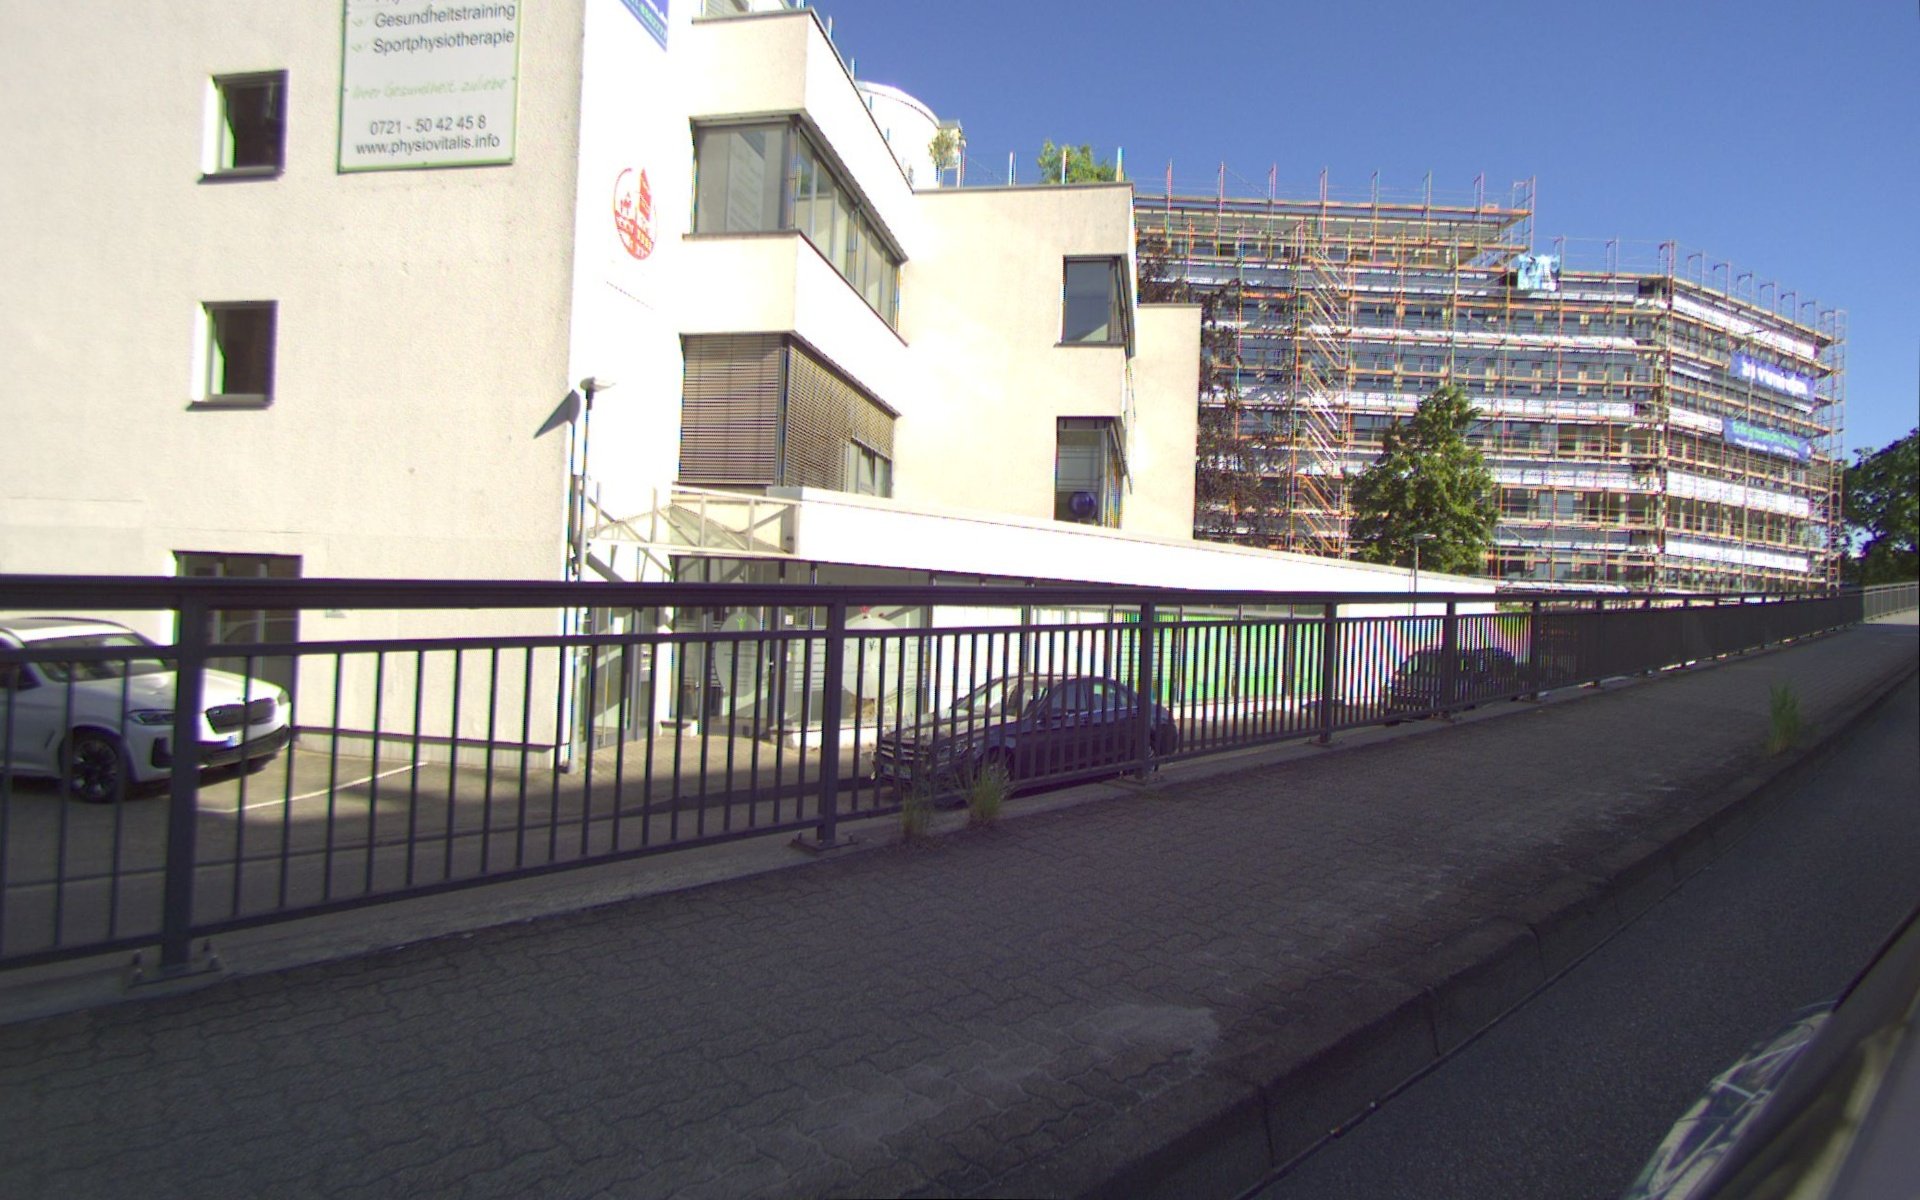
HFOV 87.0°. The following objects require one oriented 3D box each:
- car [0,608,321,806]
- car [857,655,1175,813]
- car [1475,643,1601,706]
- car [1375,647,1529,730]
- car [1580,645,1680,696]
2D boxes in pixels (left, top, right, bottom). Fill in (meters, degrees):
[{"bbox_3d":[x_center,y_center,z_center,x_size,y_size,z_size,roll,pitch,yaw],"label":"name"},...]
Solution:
[{"bbox_3d":[-9.563,1.019,10.853,4.455,1.707,1.840,2,0,9],"label":"car"},{"bbox_3d":[0.814,1.545,12.815,3.929,1.541,1.724,1,-1,-41],"label":"car"},{"bbox_3d":[14.985,1.865,26.166,3.931,1.410,1.723,1,-1,-42],"label":"car"},{"bbox_3d":[10.864,1.859,22.236,3.931,1.541,1.723,1,-1,-42],"label":"car"},{"bbox_3d":[21.092,2.170,31.806,3.931,1.410,1.723,1,-1,-42],"label":"car"}]
